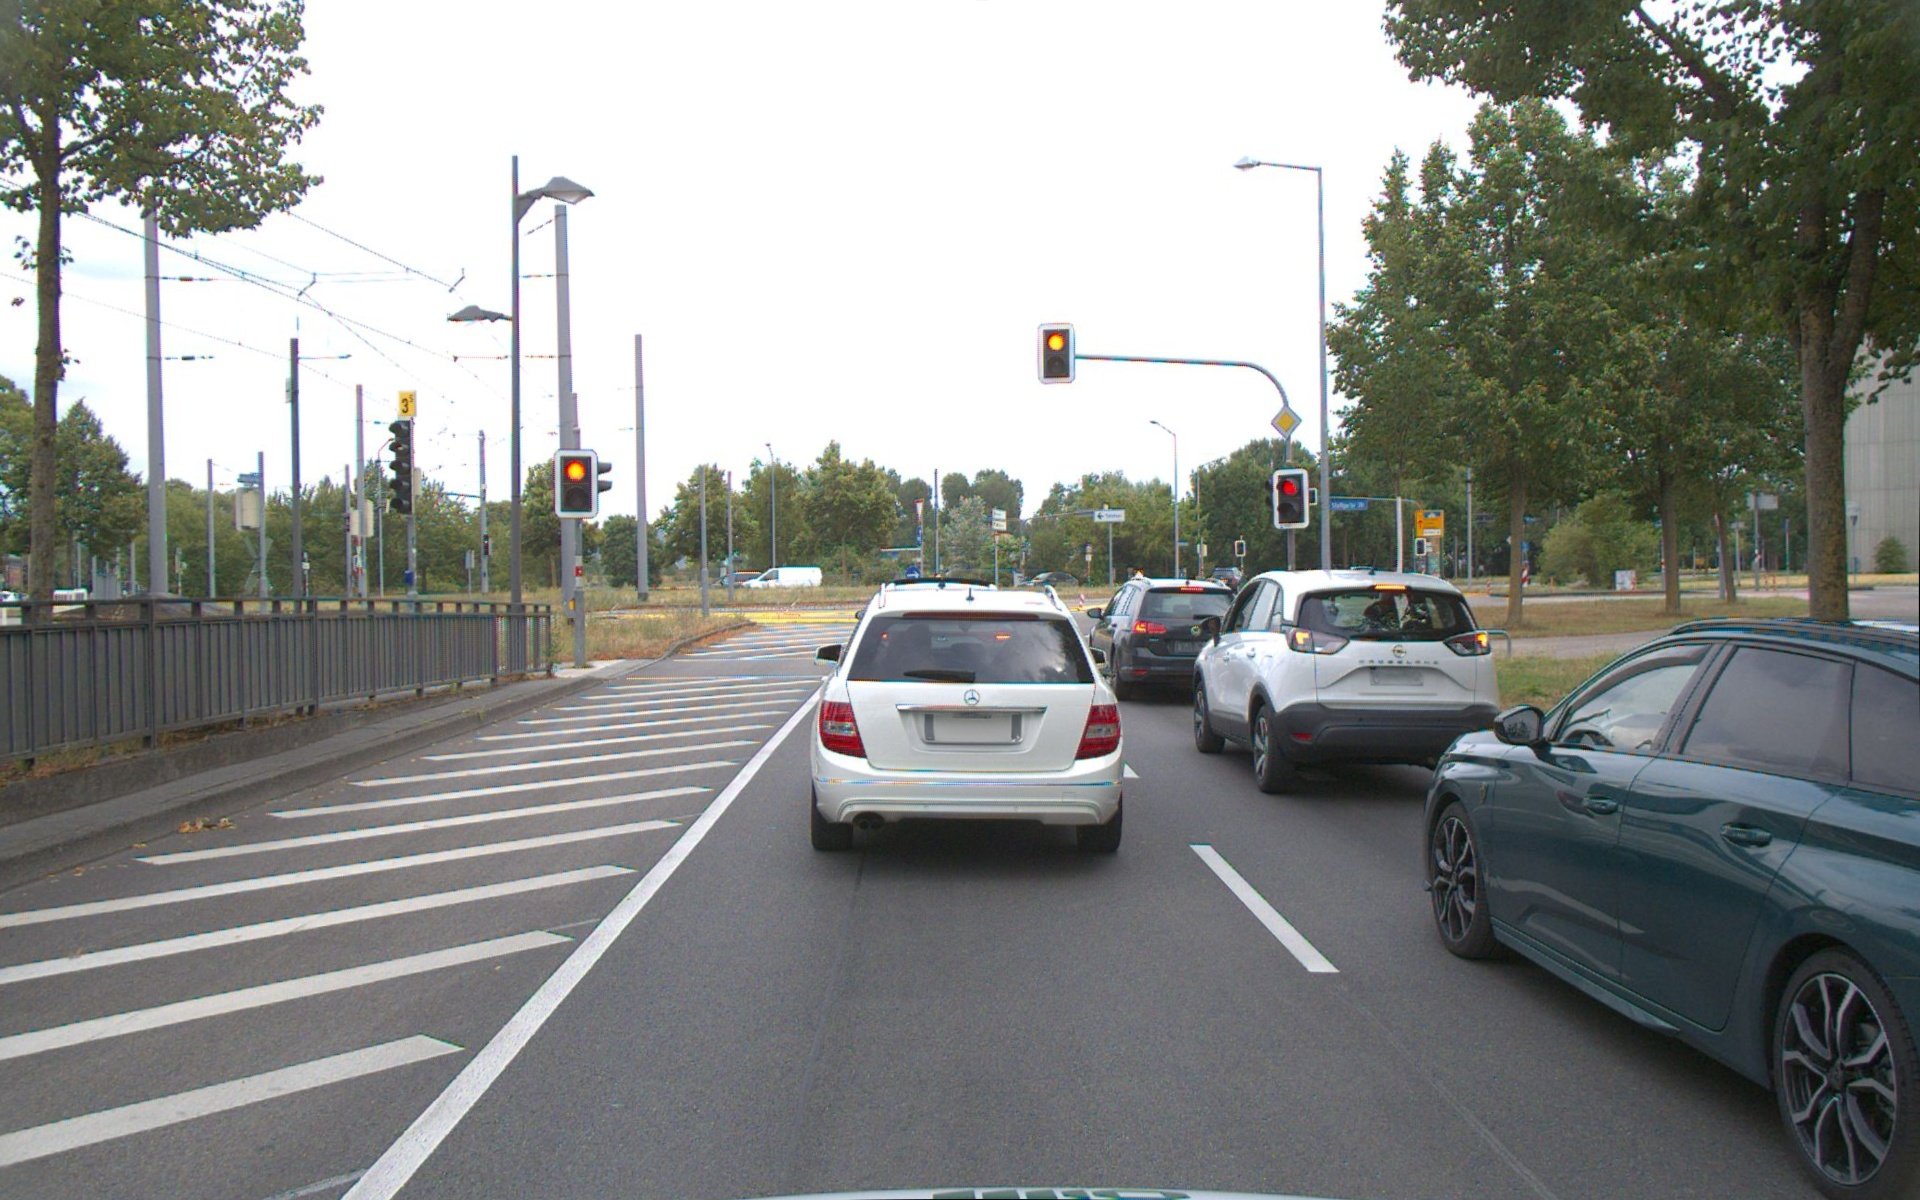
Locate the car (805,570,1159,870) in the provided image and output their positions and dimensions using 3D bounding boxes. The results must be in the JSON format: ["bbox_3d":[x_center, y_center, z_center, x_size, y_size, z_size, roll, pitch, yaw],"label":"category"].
[{"bbox_3d":[0.028,0.573,10.134,1.738,1.474,3.908,1,1,-3],"label":"car"}]

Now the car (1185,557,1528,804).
[{"bbox_3d":[2.967,0.520,13.204,1.751,1.653,3.910,-1,1,-1],"label":"car"}]

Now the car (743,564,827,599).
[{"bbox_3d":[-10.720,-1.146,101.051,4.897,2.049,1.994,-1,1,-13],"label":"car"}]

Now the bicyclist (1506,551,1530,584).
[{"bbox_3d":[30.481,-1.777,90.330,0.849,1.820,1.174,-1,1,-2],"label":"bicyclist"}]

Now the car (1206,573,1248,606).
[{"bbox_3d":[15.569,-0.593,96.232,1.951,1.822,4.003,2,0,15],"label":"car"}]

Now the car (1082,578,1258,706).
[{"bbox_3d":[2.598,0.464,21.233,1.592,1.474,3.908,1,1,-3],"label":"car"}]

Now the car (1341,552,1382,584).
[{"bbox_3d":[21.679,-1.728,89.460,1.745,1.664,4.406,-1,1,9],"label":"car"}]

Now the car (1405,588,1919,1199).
[{"bbox_3d":[3.016,0.714,5.329,1.752,1.457,4.308,0,1,-4],"label":"car"}]

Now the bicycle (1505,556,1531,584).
[{"bbox_3d":[30.495,-1.636,90.401,0.690,1.532,2.007,-1,1,-1],"label":"bicycle"}]

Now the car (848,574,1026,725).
[{"bbox_3d":[-0.309,0.459,18.202,1.738,1.474,3.908,1,1,-3],"label":"car"}]
